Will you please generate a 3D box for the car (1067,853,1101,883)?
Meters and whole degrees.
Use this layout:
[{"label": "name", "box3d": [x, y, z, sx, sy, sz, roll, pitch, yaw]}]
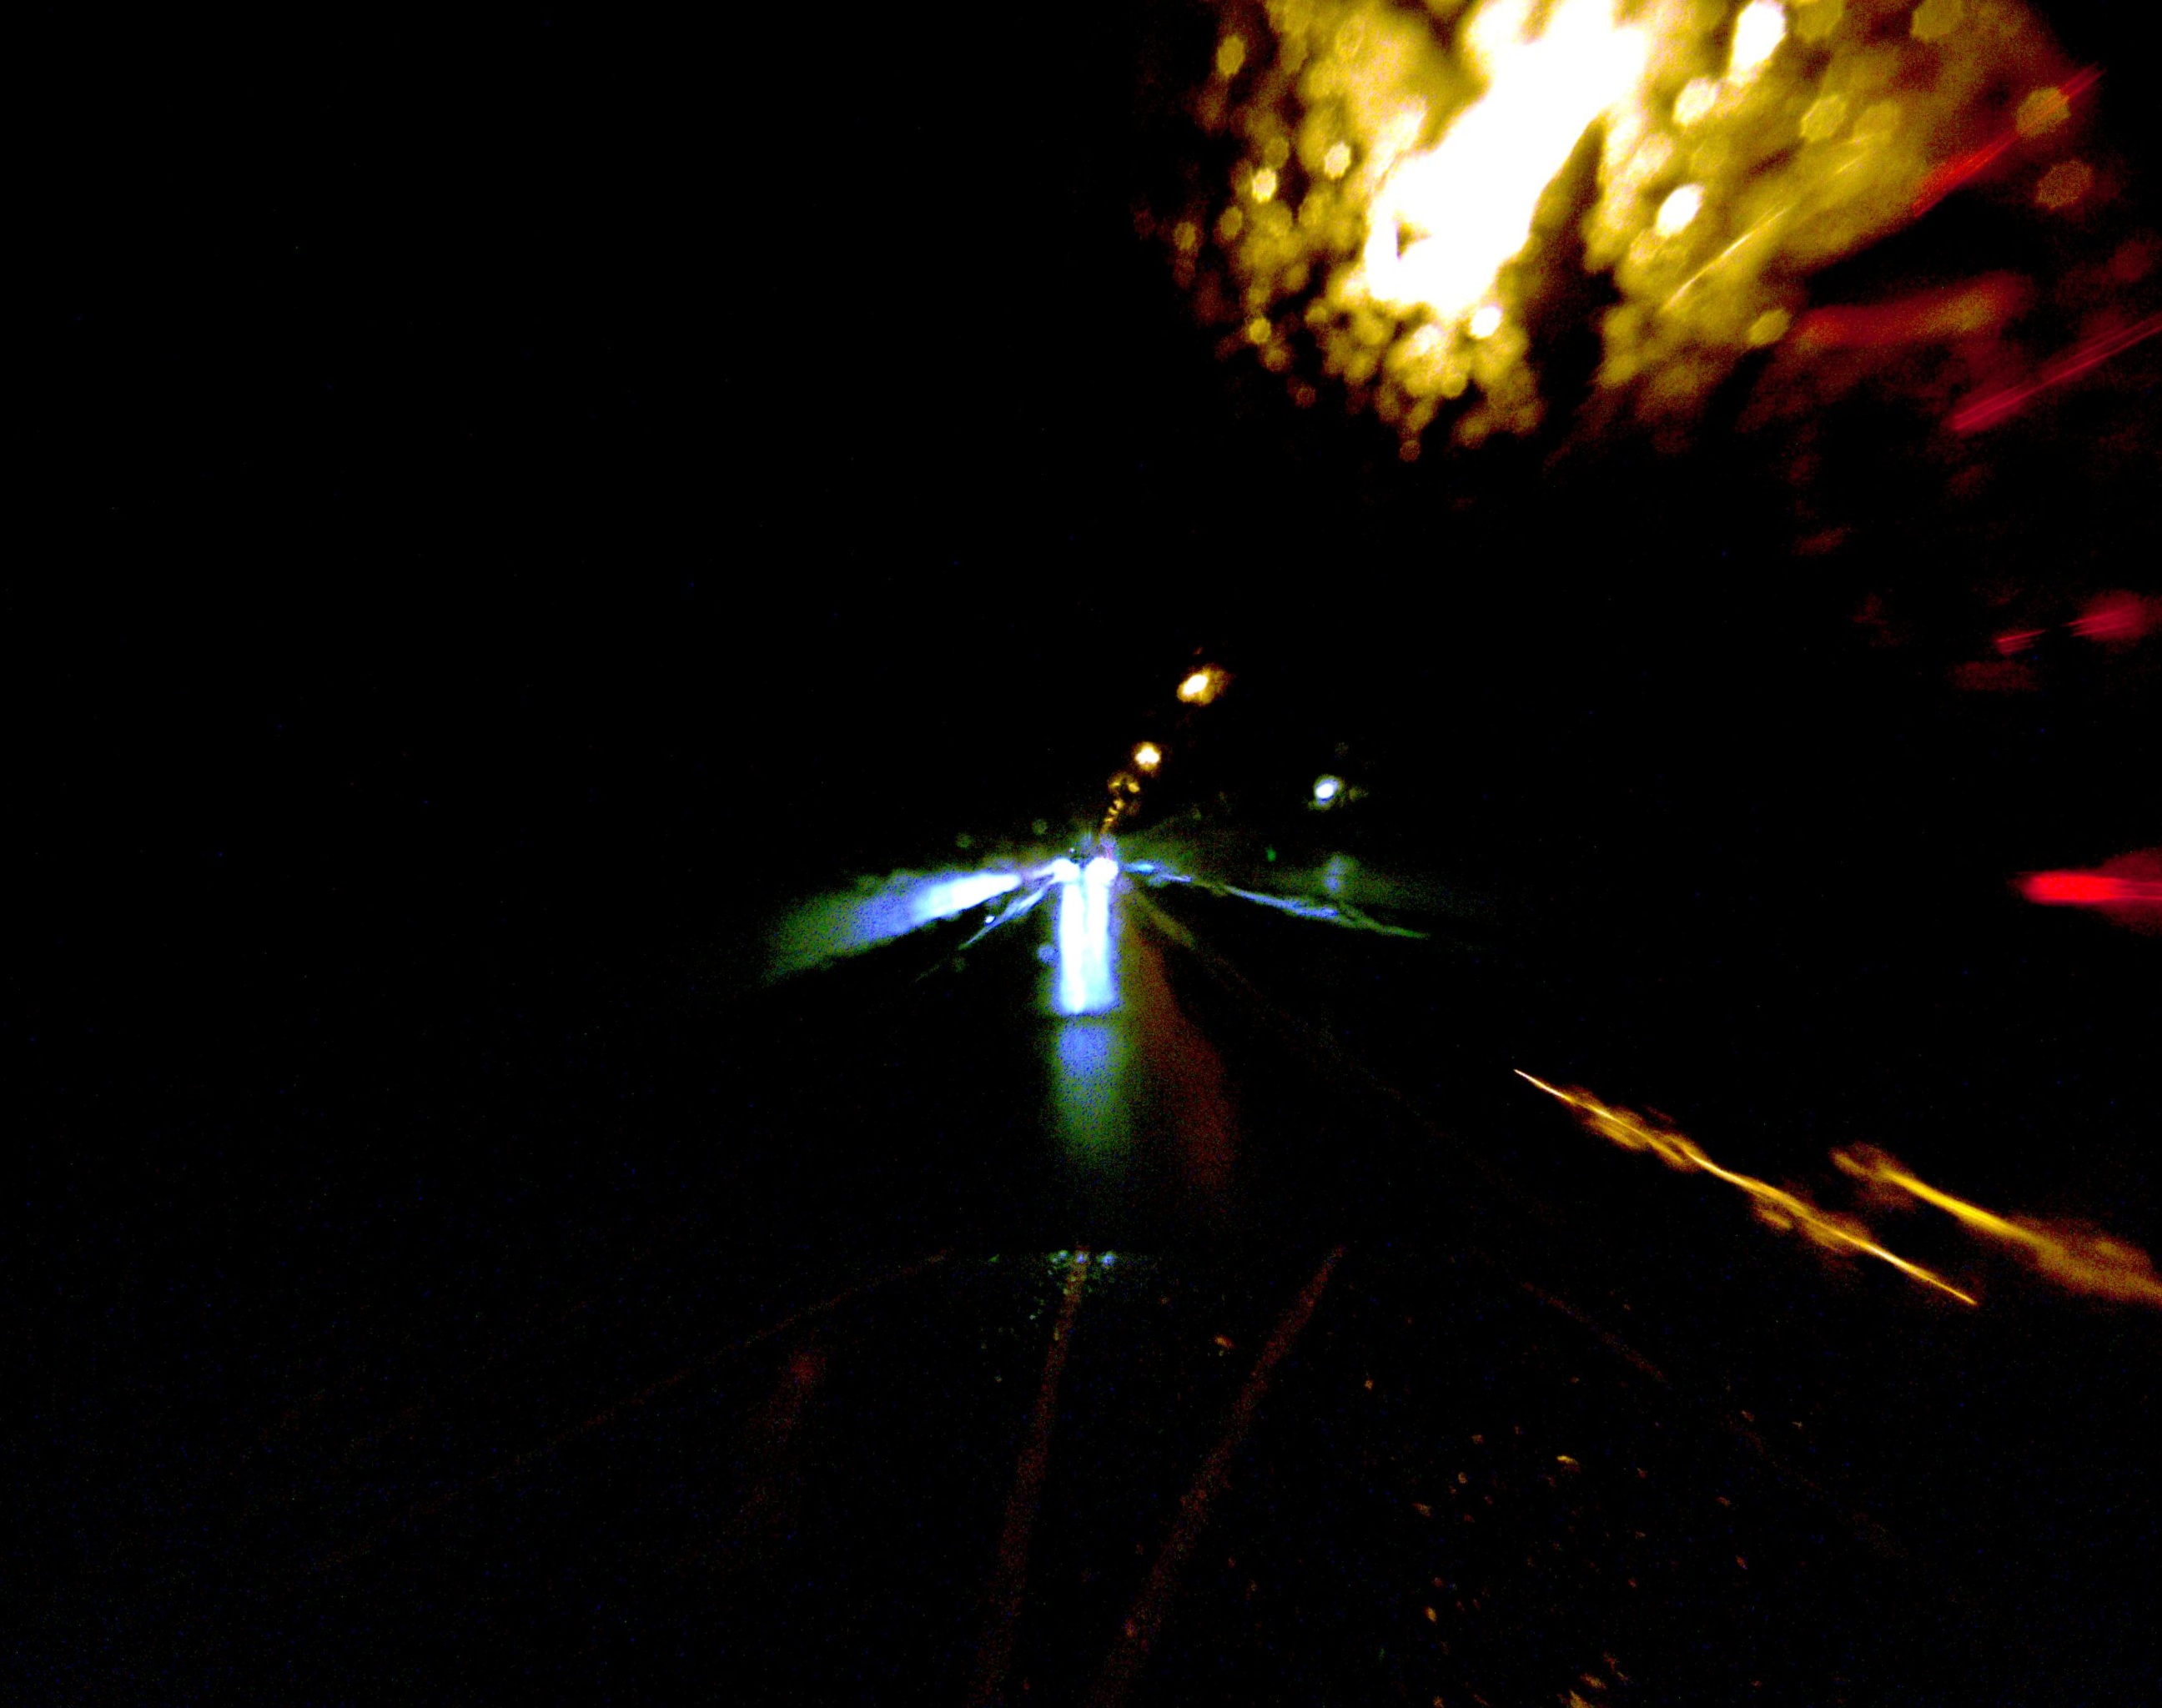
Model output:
[{"label": "car", "box3d": [0.220, 0.742, 42.715, 1.730, 1.595, 4.000, -1, 0, 2]}]
